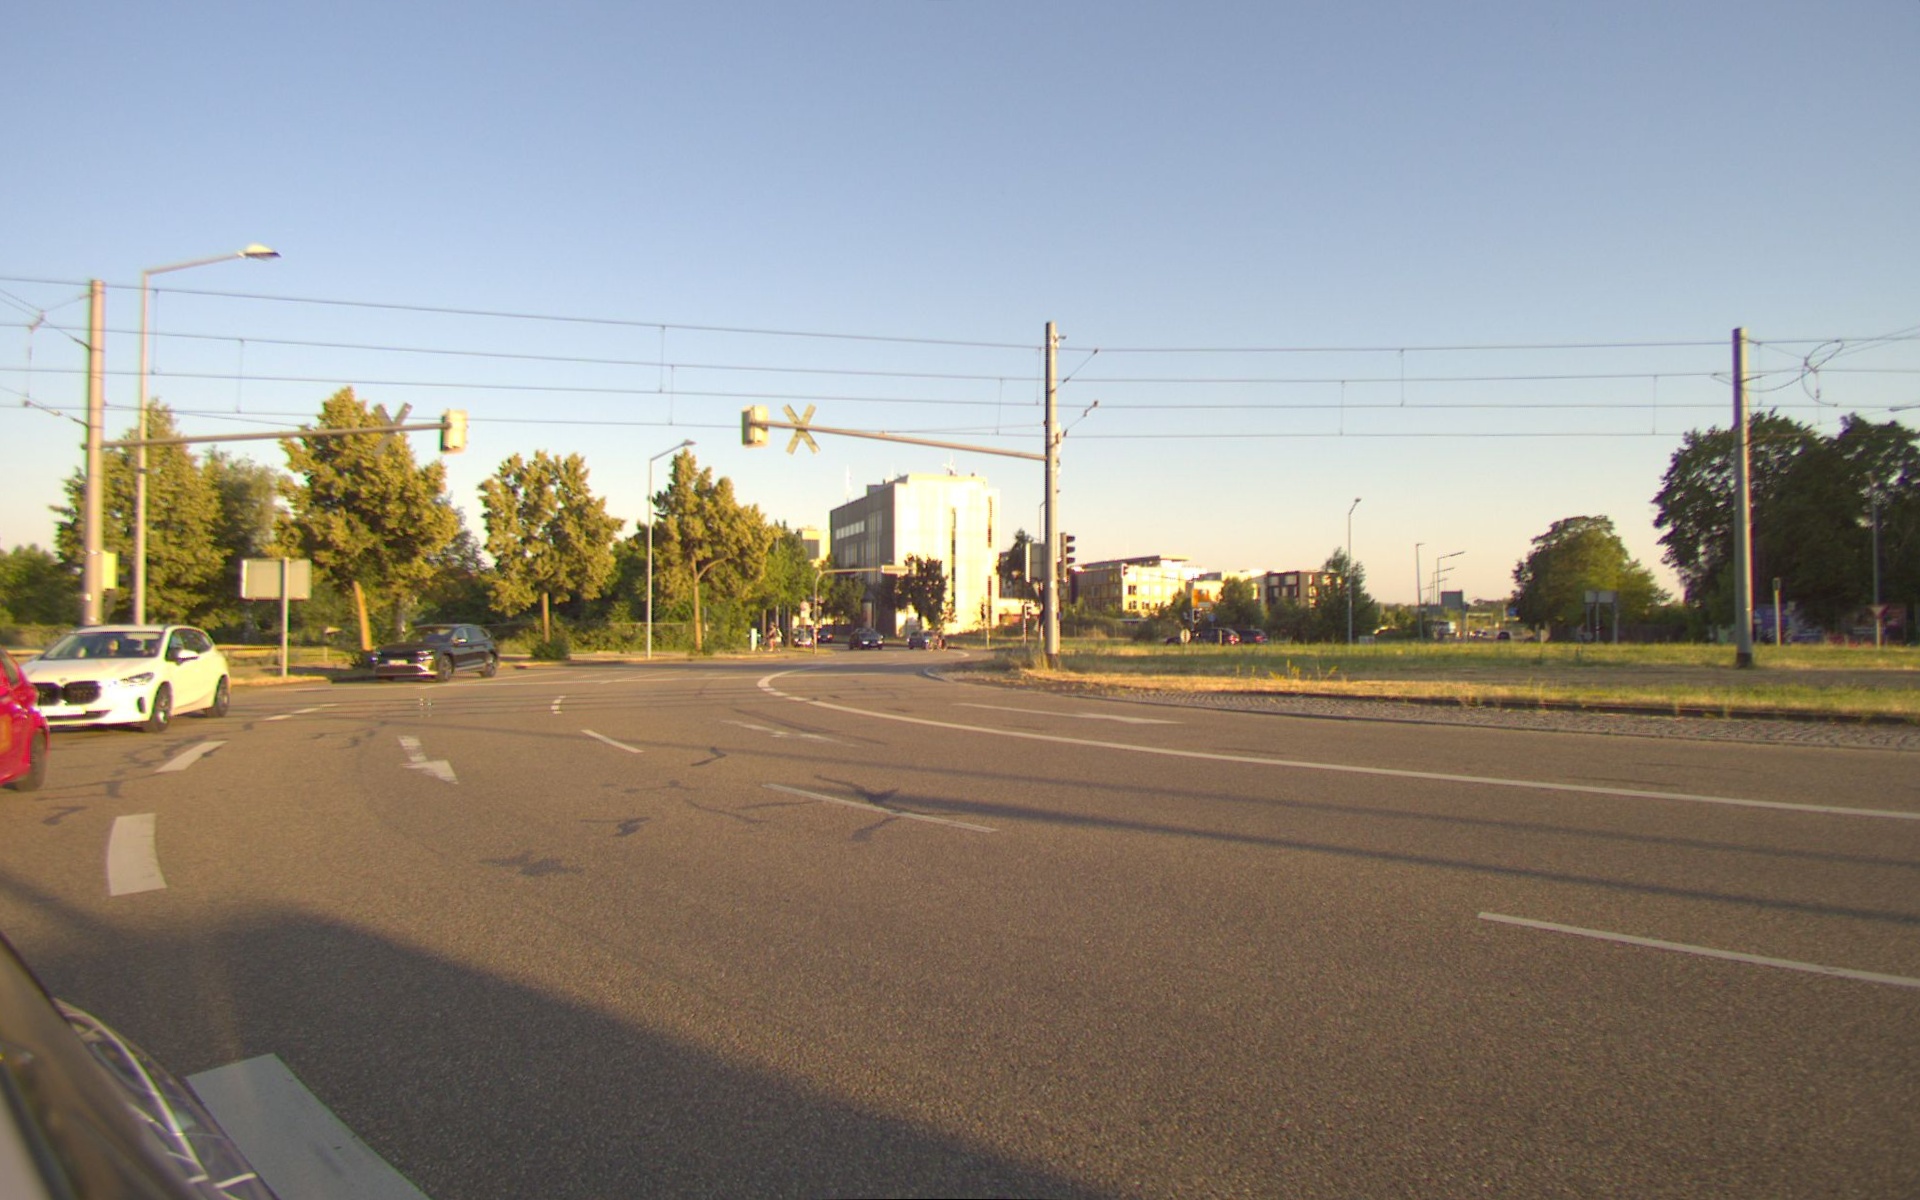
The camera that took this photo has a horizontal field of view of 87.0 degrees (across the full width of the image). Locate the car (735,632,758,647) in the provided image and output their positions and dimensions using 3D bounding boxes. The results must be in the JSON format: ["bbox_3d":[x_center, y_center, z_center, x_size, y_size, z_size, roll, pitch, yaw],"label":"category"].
[{"bbox_3d":[-23.289,4.287,110.377,1.841,1.637,4.206,0,-1,-20],"label":"car"}]

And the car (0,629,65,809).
[{"bbox_3d":[-8.480,0.963,7.773,1.666,1.432,4.223,1,-1,-31],"label":"car"}]

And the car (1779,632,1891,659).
[{"bbox_3d":[48.510,2.529,56.224,1.915,1.443,4.600,0,-2,-6],"label":"car"}]

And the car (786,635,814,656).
[{"bbox_3d":[-13.951,3.935,88.160,1.841,1.763,3.864,0,-1,-18],"label":"car"}]

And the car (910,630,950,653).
[{"bbox_3d":[-2.282,3.064,75.445,1.841,1.637,4.205,0,-1,-18],"label":"car"}]

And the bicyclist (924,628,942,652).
[{"bbox_3d":[-1.872,2.792,70.534,0.983,1.645,0.813,1,-2,-28],"label":"bicyclist"}]

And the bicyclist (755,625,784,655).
[{"bbox_3d":[-11.483,2.414,61.050,1.393,1.762,1.127,1,-2,-31],"label":"bicyclist"}]

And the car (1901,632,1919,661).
[{"bbox_3d":[49.108,2.285,49.453,1.915,1.443,4.324,0,-2,-4],"label":"car"}]

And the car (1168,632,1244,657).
[{"bbox_3d":[15.277,2.745,63.041,4.246,1.512,1.819,-1,-2,36],"label":"car"}]

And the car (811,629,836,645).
[{"bbox_3d":[-14.280,3.836,105.772,1.841,1.637,4.206,0,-1,-18],"label":"car"}]

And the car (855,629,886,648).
[{"bbox_3d":[-7.946,3.394,89.565,1.841,1.637,4.205,0,-1,-18],"label":"car"}]

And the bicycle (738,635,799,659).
[{"bbox_3d":[-11.525,2.826,61.035,3.479,1.406,1.127,1,-2,-31],"label":"bicycle"}]

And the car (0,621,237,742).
[{"bbox_3d":[-12.607,1.134,15.305,1.730,1.570,4.228,1,-2,-22],"label":"car"}]

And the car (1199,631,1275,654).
[{"bbox_3d":[18.109,2.808,66.351,4.402,1.443,1.917,-2,-3,42],"label":"car"}]

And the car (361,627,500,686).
[{"bbox_3d":[-15.117,1.579,29.147,1.803,1.570,4.214,0,-2,0],"label":"car"}]

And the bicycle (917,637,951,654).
[{"bbox_3d":[-1.804,3.172,70.573,2.289,1.188,0.813,1,-2,-28],"label":"bicycle"}]

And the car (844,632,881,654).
[{"bbox_3d":[-7.766,3.390,80.359,1.841,1.637,4.206,0,-1,-22],"label":"car"}]
